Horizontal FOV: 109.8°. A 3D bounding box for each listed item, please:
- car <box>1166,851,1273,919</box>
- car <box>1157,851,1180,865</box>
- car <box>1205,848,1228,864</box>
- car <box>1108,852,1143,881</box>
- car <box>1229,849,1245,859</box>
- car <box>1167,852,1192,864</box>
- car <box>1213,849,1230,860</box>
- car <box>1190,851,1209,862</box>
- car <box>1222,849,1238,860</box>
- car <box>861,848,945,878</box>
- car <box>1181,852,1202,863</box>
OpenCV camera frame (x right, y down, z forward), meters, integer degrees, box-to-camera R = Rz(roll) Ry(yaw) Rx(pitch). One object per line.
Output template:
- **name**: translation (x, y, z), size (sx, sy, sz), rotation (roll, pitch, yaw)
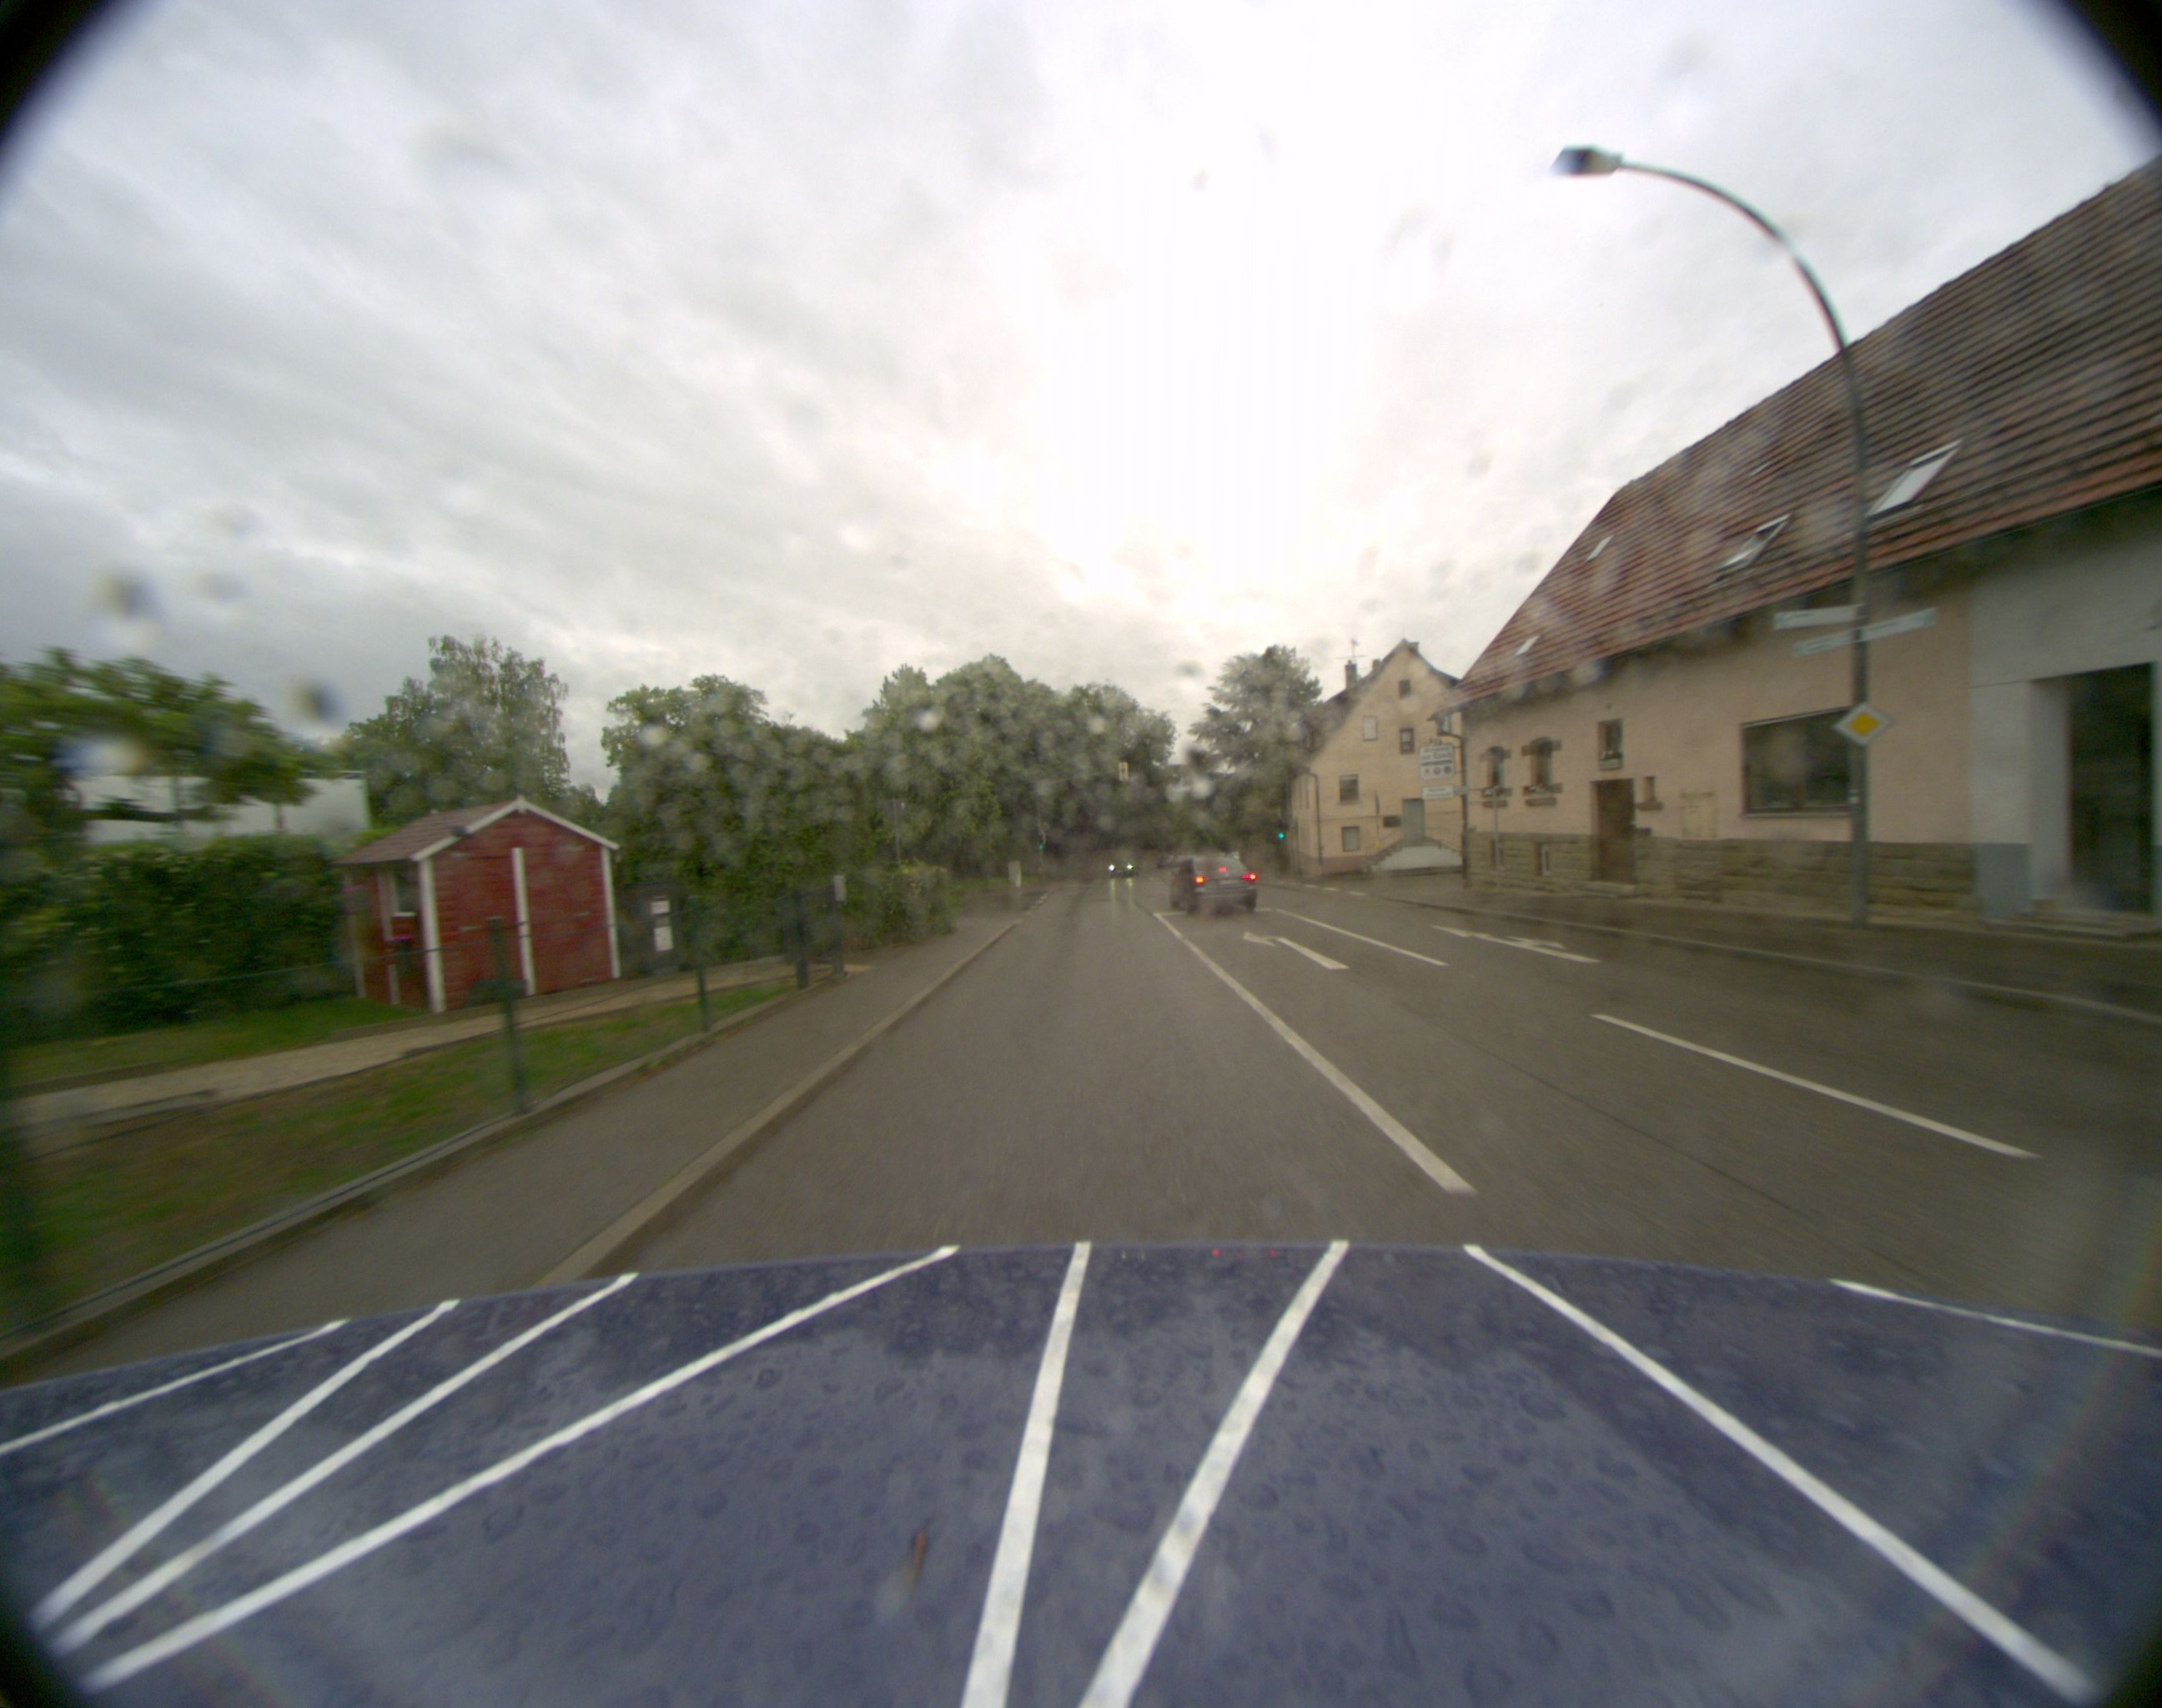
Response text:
- **car**: translation (3.580, 0.752, 20.494), size (1.949, 1.565, 4.225), rotation (-2, 0, -2)
- **car**: translation (10.201, 0.493, 88.553), size (1.791, 1.524, 3.806), rotation (-1, 0, 21)
- **car**: translation (15.569, 0.249, 86.992), size (1.996, 1.696, 4.005), rotation (-2, 0, 18)
- **car**: translation (3.588, 0.974, 60.606), size (1.996, 2.002, 4.003), rotation (-3, 1, 15)
- **car**: translation (26.463, -0.053, 128.983), size (1.830, 1.620, 4.160), rotation (-1, 0, 23)
- **car**: translation (12.205, 0.489, 93.863), size (1.995, 1.411, 4.491), rotation (-1, 0, 21)
- **car**: translation (21.778, 0.096, 117.322), size (1.831, 1.620, 4.159), rotation (-1, 0, 21)
- **car**: translation (16.323, 0.354, 104.325), size (1.761, 1.411, 4.159), rotation (-1, 0, 20)
- **car**: translation (24.144, 0.046, 123.107), size (1.830, 1.620, 4.160), rotation (-1, 0, 23)
- **car**: translation (-9.398, 0.473, 40.181), size (3.990, 1.447, 1.857), rotation (-1, 1, 25)
- **car**: translation (14.441, 0.419, 99.327), size (1.761, 1.411, 4.159), rotation (-1, 0, 22)
